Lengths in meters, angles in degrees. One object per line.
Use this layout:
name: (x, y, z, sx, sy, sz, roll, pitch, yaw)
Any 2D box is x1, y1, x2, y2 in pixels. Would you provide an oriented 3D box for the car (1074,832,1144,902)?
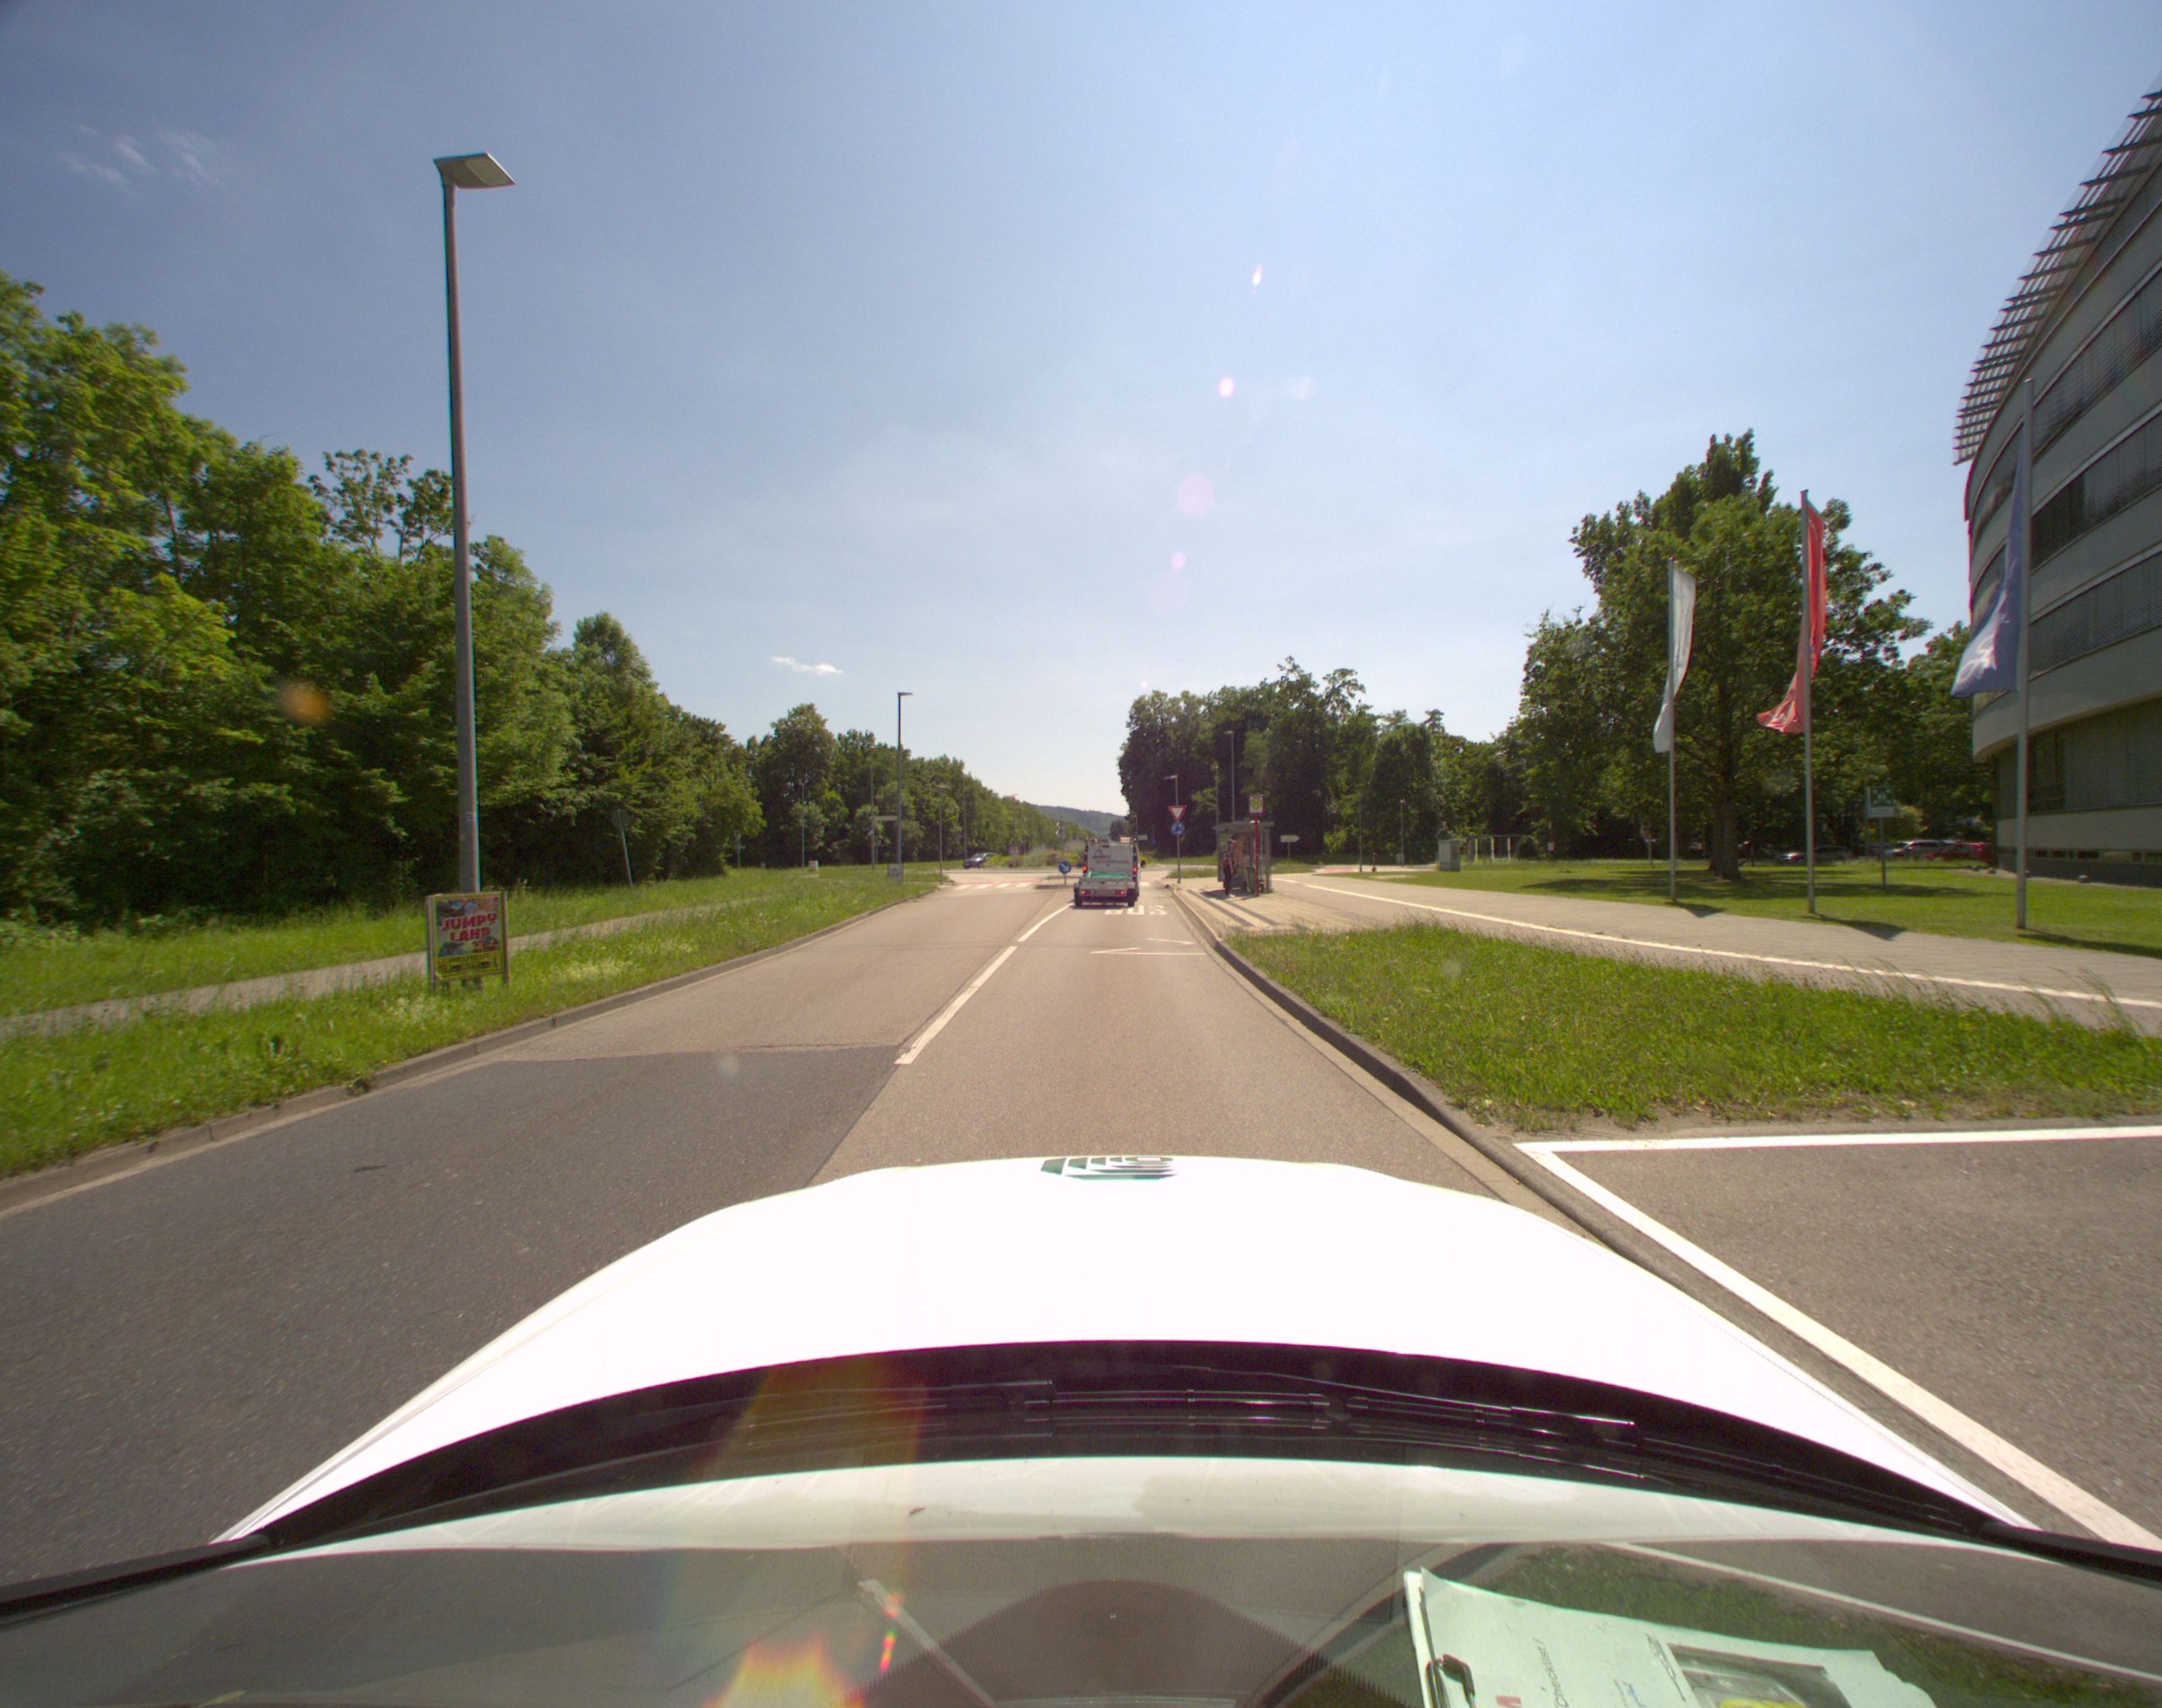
car: (1.120, 0.429, 29.351, 2.155, 2.316, 4.990, 0, 0, 6)

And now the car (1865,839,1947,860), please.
car: (59.760, -0.330, 59.051, 3.757, 1.416, 1.889, -1, 0, 10)

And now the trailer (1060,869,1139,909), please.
trailer: (0.646, 1.031, 25.162, 2.110, 1.097, 3.361, 0, 0, 6)

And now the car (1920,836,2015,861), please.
car: (53.501, -0.315, 49.238, 1.855, 1.483, 3.688, 0, 0, 3)

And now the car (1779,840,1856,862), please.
car: (53.826, -0.238, 59.573, 3.966, 1.485, 1.707, 0, 2, 7)

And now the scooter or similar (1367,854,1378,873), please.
scooter or similar: (18.499, 0.595, 51.666, 0.442, 1.201, 1.407, 0, 0, 30)

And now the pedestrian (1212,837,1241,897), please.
pedestrian: (4.520, 0.401, 25.372, 0.705, 1.822, 0.827, -3, -1, 2)

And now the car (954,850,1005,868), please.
car: (-9.219, 0.447, 74.018, 1.974, 1.478, 4.316, -2, 1, 41)
